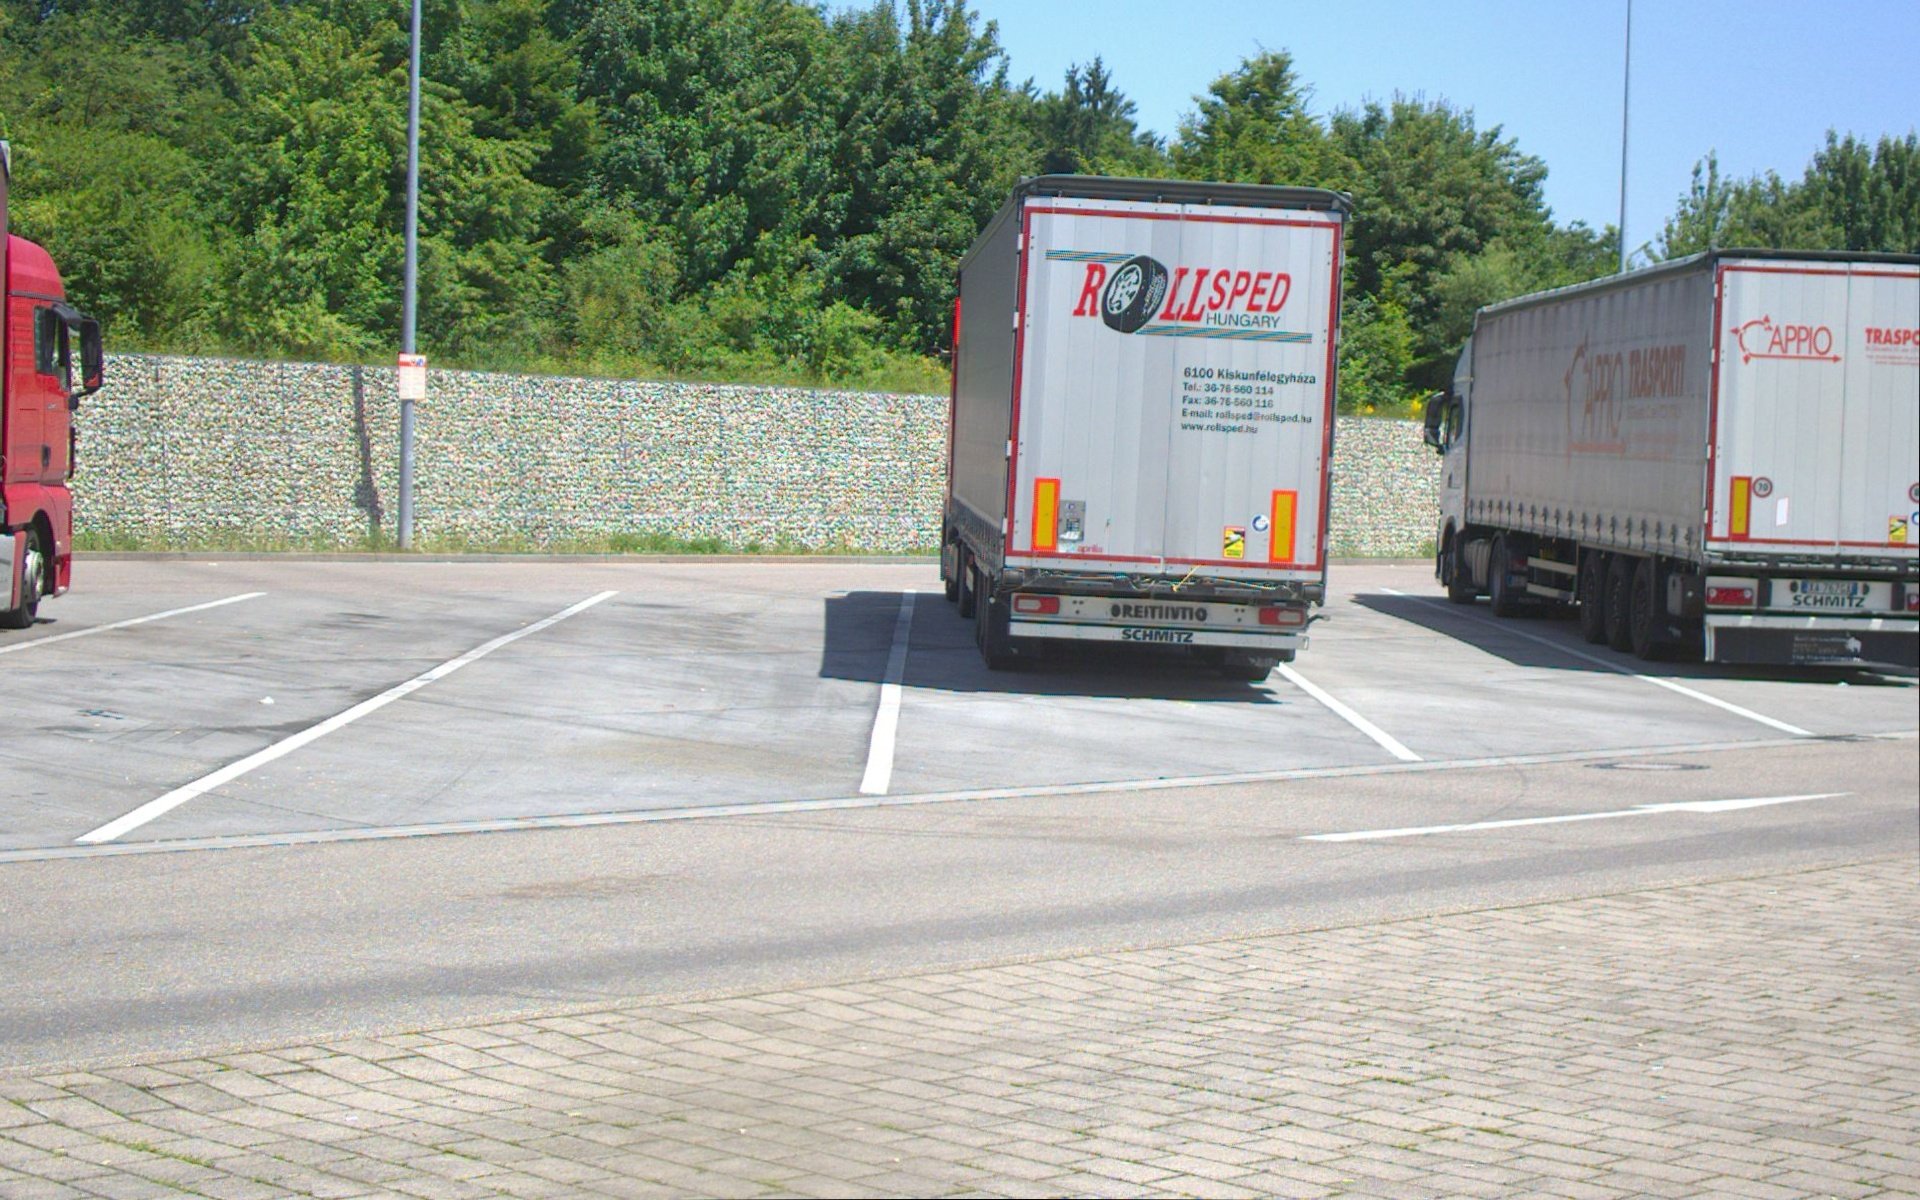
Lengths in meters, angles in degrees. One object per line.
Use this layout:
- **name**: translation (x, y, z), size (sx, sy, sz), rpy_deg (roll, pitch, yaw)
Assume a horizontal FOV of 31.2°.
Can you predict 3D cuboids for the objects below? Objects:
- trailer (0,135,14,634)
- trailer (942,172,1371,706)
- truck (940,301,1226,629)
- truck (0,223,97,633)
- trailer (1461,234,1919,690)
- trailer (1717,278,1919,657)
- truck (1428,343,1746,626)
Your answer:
- **trailer**: translation (-9.162, -1.463, 21.363), size (2.821, 4.057, 13.765), rpy_deg (2, 3, -1)
- **trailer**: translation (1.463, -1.563, 33.103), size (2.858, 3.958, 13.765), rpy_deg (2, 3, -1)
- **truck**: translation (1.280, -1.568, 39.304), size (2.865, 3.351, 5.975), rpy_deg (2, 3, -1)
- **truck**: translation (-9.249, -1.452, 28.183), size (2.812, 3.351, 5.975), rpy_deg (2, 3, -1)
- **trailer**: translation (8.193, -1.583, 38.356), size (2.858, 4.095, 13.765), rpy_deg (2, 3, -1)
- **trailer**: translation (11.790, -1.499, 39.368), size (2.858, 4.095, 13.765), rpy_deg (2, 3, -1)
- **truck**: translation (8.092, -1.563, 45.122), size (2.865, 3.351, 5.975), rpy_deg (2, 3, -1)
